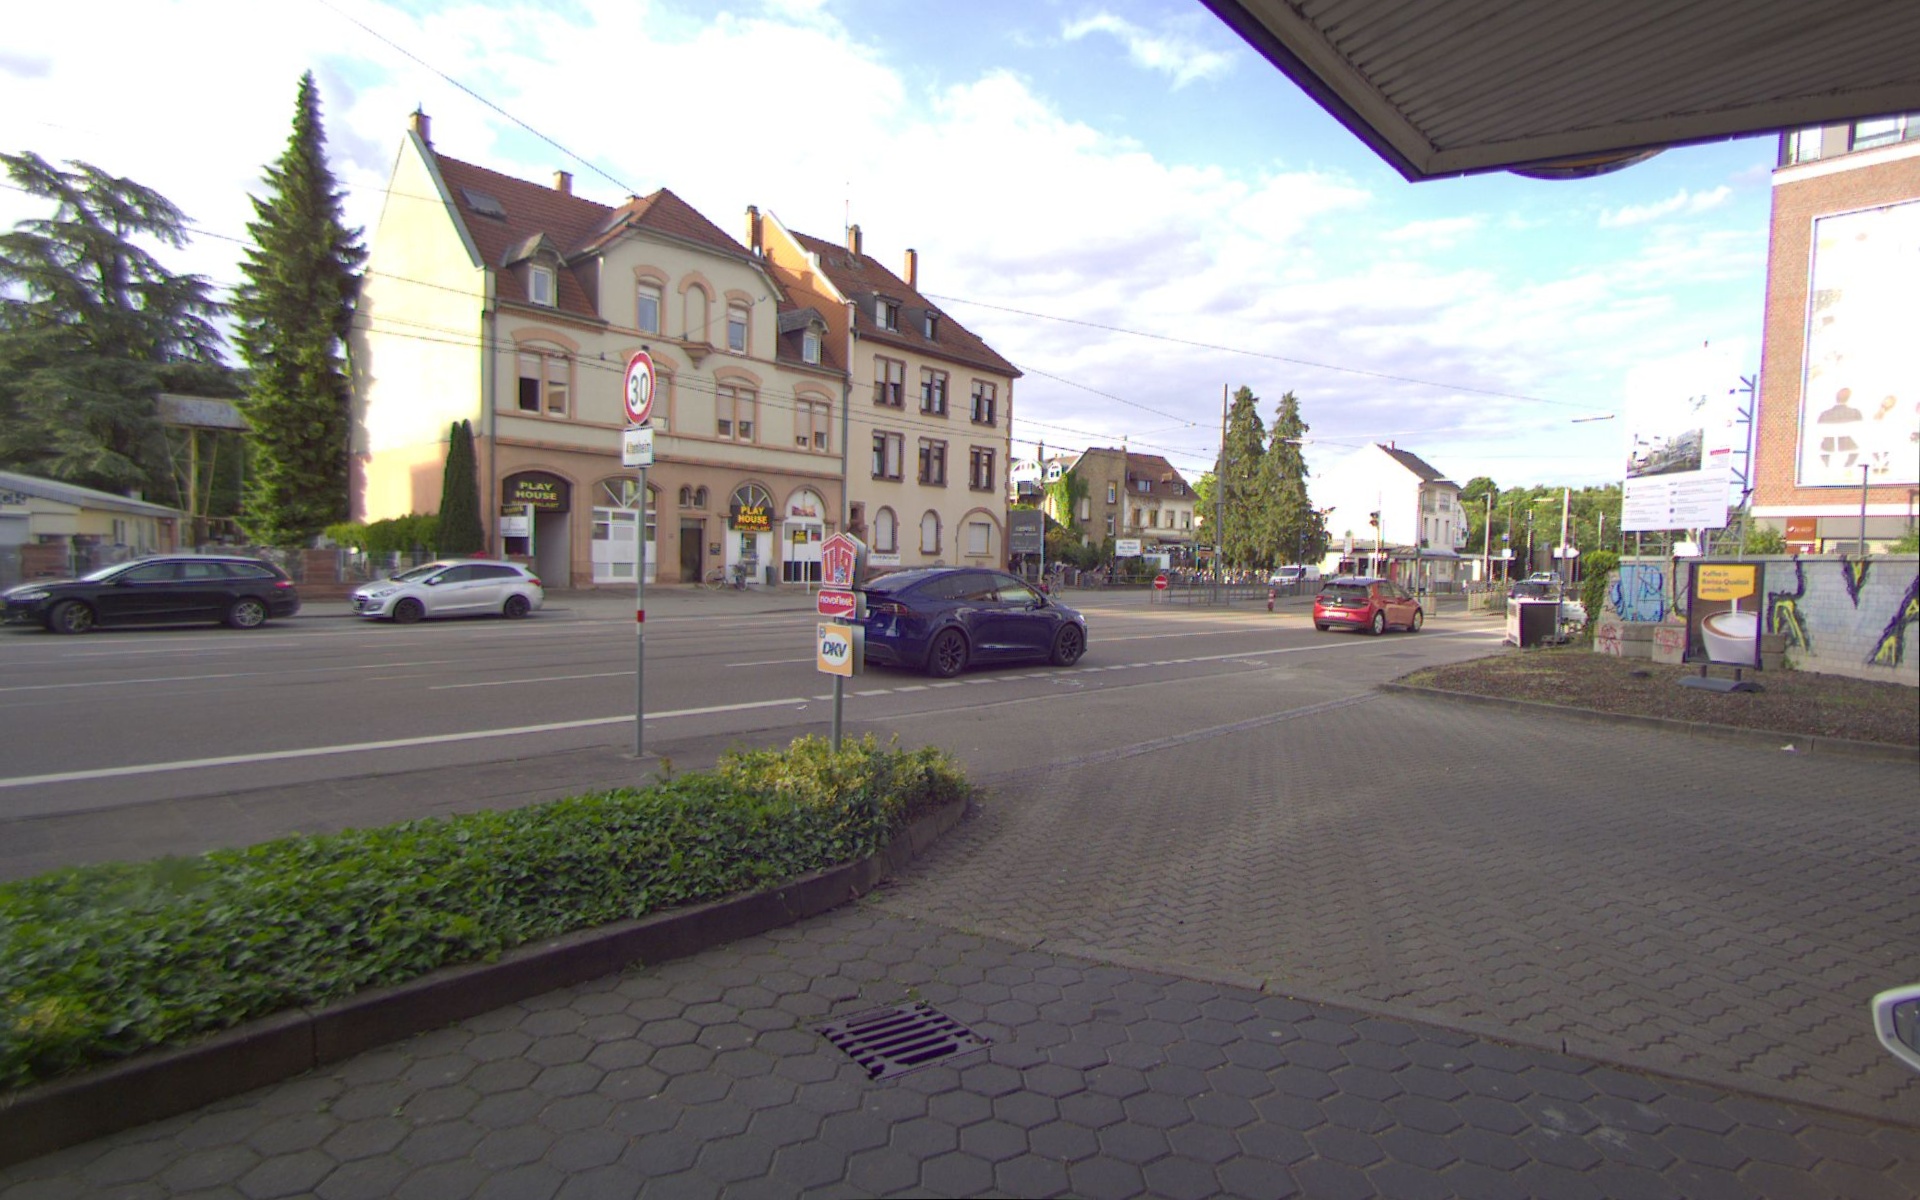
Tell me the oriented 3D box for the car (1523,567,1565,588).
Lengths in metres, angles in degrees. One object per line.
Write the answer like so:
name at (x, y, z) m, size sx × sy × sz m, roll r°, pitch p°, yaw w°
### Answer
car at (57.186, -2.184, 98.373) m, size 4.848 × 1.995 × 1.977 m, roll -1°, pitch 3°, yaw -40°

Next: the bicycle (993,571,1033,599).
bicycle at (2.500, -0.729, 47.060) m, size 0.833 × 1.219 × 1.897 m, roll 8°, pitch 6°, yaw 38°

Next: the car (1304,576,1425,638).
car at (11.615, 0.149, 28.724) m, size 1.745 × 1.564 × 4.106 m, roll 5°, pitch 4°, yaw 43°

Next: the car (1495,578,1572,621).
car at (22.858, -0.051, 39.978) m, size 1.707 × 1.564 × 3.976 m, roll 5°, pitch 4°, yaw 43°

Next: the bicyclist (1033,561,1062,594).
bicyclist at (4.153, -1.063, 47.591) m, size 0.777 × 1.512 × 1.091 m, roll 6°, pitch 5°, yaw 39°

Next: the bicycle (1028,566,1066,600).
bicycle at (4.140, -0.813, 47.597) m, size 0.776 × 1.512 × 1.983 m, roll 6°, pitch 5°, yaw 38°

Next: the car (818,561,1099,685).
car at (0.134, 0.292, 16.503) m, size 1.745 × 1.679 × 4.822 m, roll 5°, pitch 4°, yaw 43°

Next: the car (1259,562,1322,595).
car at (19.847, -1.271, 60.217) m, size 1.940 × 1.915 × 4.387 m, roll 4°, pitch 3°, yaw 42°

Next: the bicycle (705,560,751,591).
bicycle at (-9.144, -0.957, 39.709) m, size 0.508 × 1.189 × 1.809 m, roll 4°, pitch 2°, yaw 40°

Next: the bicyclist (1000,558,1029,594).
bicyclist at (2.549, -1.125, 47.057) m, size 0.833 × 1.579 × 0.960 m, roll 8°, pitch 6°, yaw 39°

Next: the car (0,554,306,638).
car at (-16.570, -0.148, 20.732) m, size 1.970 × 1.516 × 4.801 m, roll 3°, pitch 3°, yaw 40°

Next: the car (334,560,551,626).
car at (-13.002, -0.247, 25.464) m, size 1.970 × 1.495 × 4.467 m, roll 3°, pitch 3°, yaw 40°
